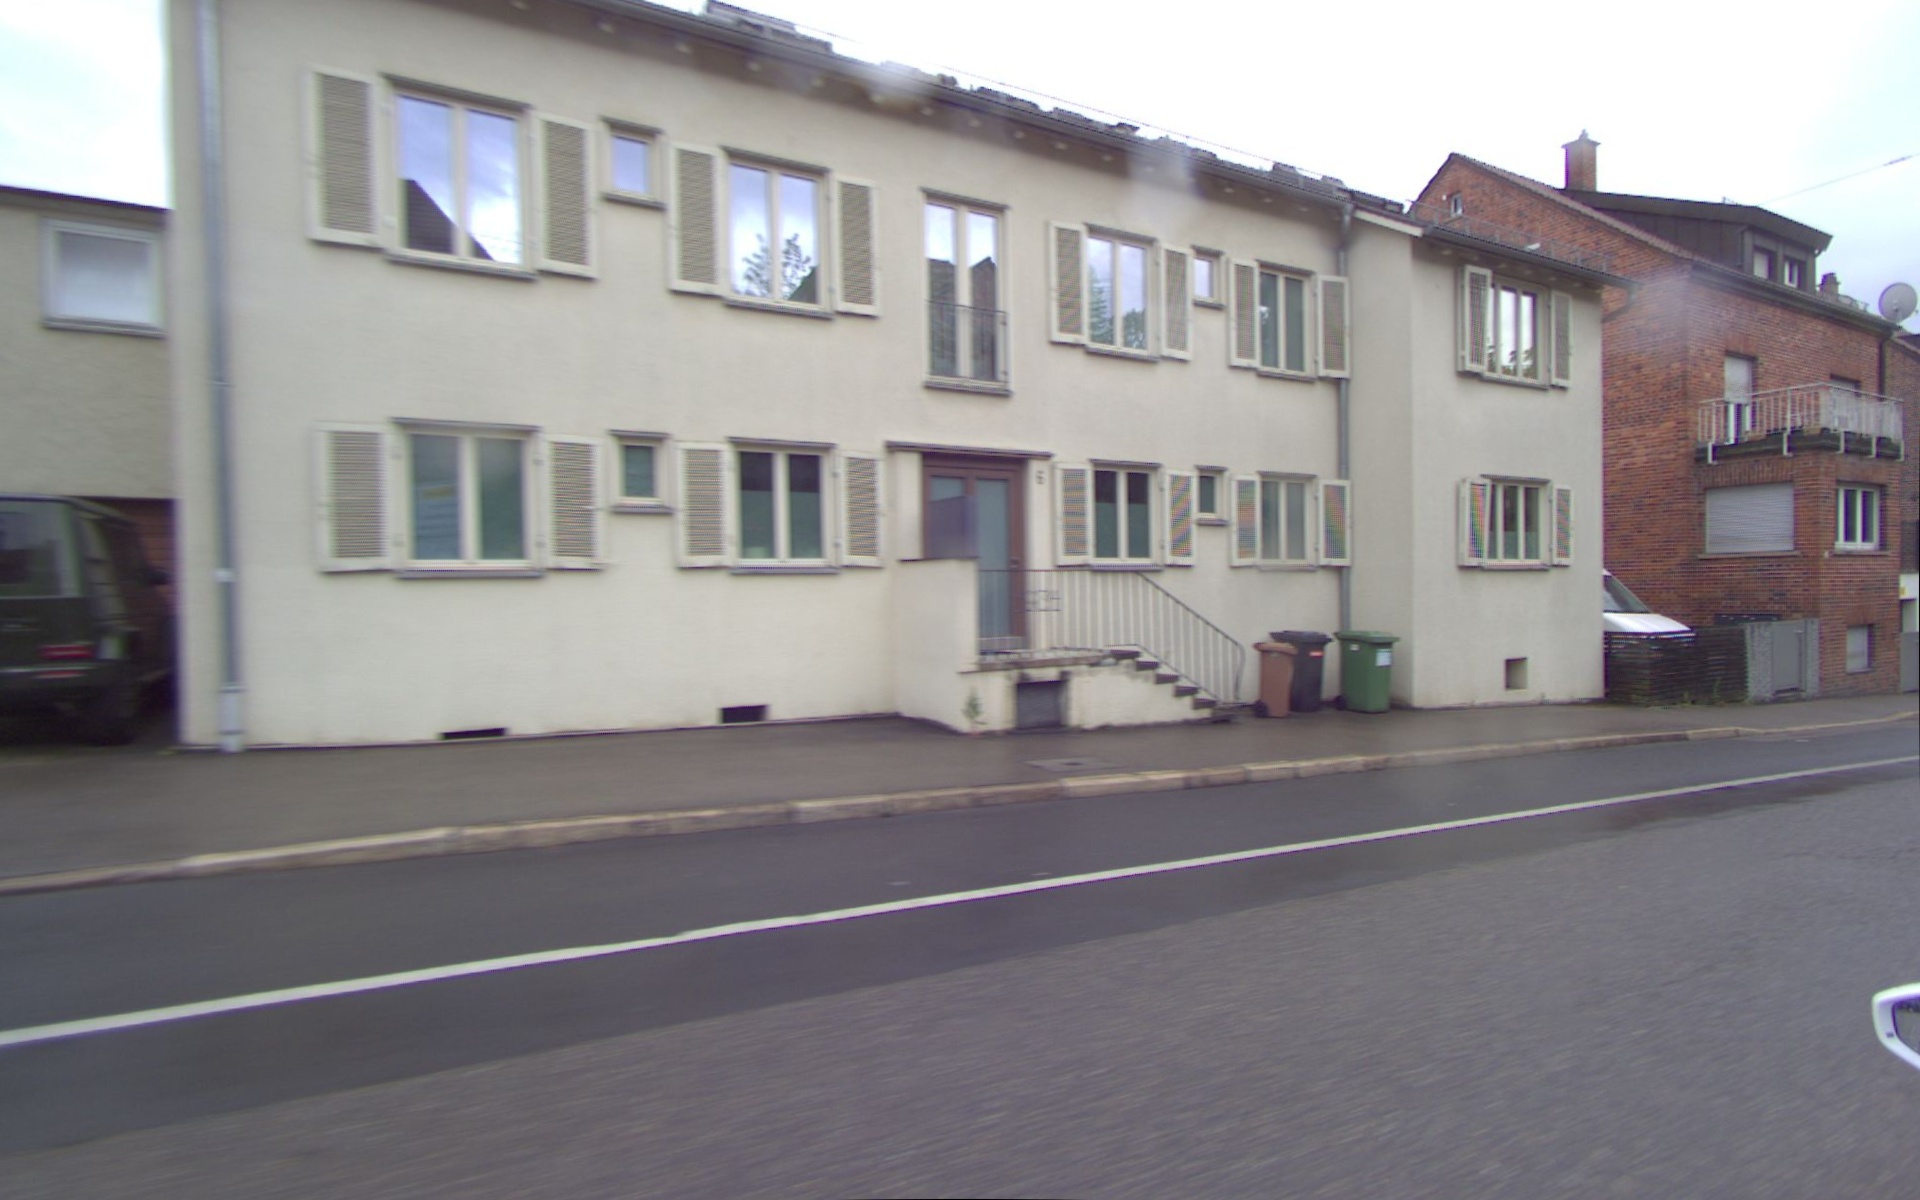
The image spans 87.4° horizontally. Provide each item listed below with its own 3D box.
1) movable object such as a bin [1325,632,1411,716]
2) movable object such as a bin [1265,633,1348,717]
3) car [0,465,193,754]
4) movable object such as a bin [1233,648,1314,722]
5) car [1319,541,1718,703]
[{"bbox_3d":[5.531,0.984,13.640,0.729,1.060,0.778,1,0,-29],"label":"movable object such as a bin"},{"bbox_3d":[4.663,0.997,13.550,0.700,1.060,0.778,1,0,-29],"label":"movable object such as a bin"},{"bbox_3d":[-8.178,0.079,8.839,1.867,2.040,4.463,0,0,-32],"label":"car"},{"bbox_3d":[3.973,1.058,12.746,0.700,0.871,0.670,1,0,-29],"label":"movable object such as a bin"},{"bbox_3d":[10.363,0.395,19.485,2.141,2.587,6.625,3,-1,-29],"label":"car"}]
